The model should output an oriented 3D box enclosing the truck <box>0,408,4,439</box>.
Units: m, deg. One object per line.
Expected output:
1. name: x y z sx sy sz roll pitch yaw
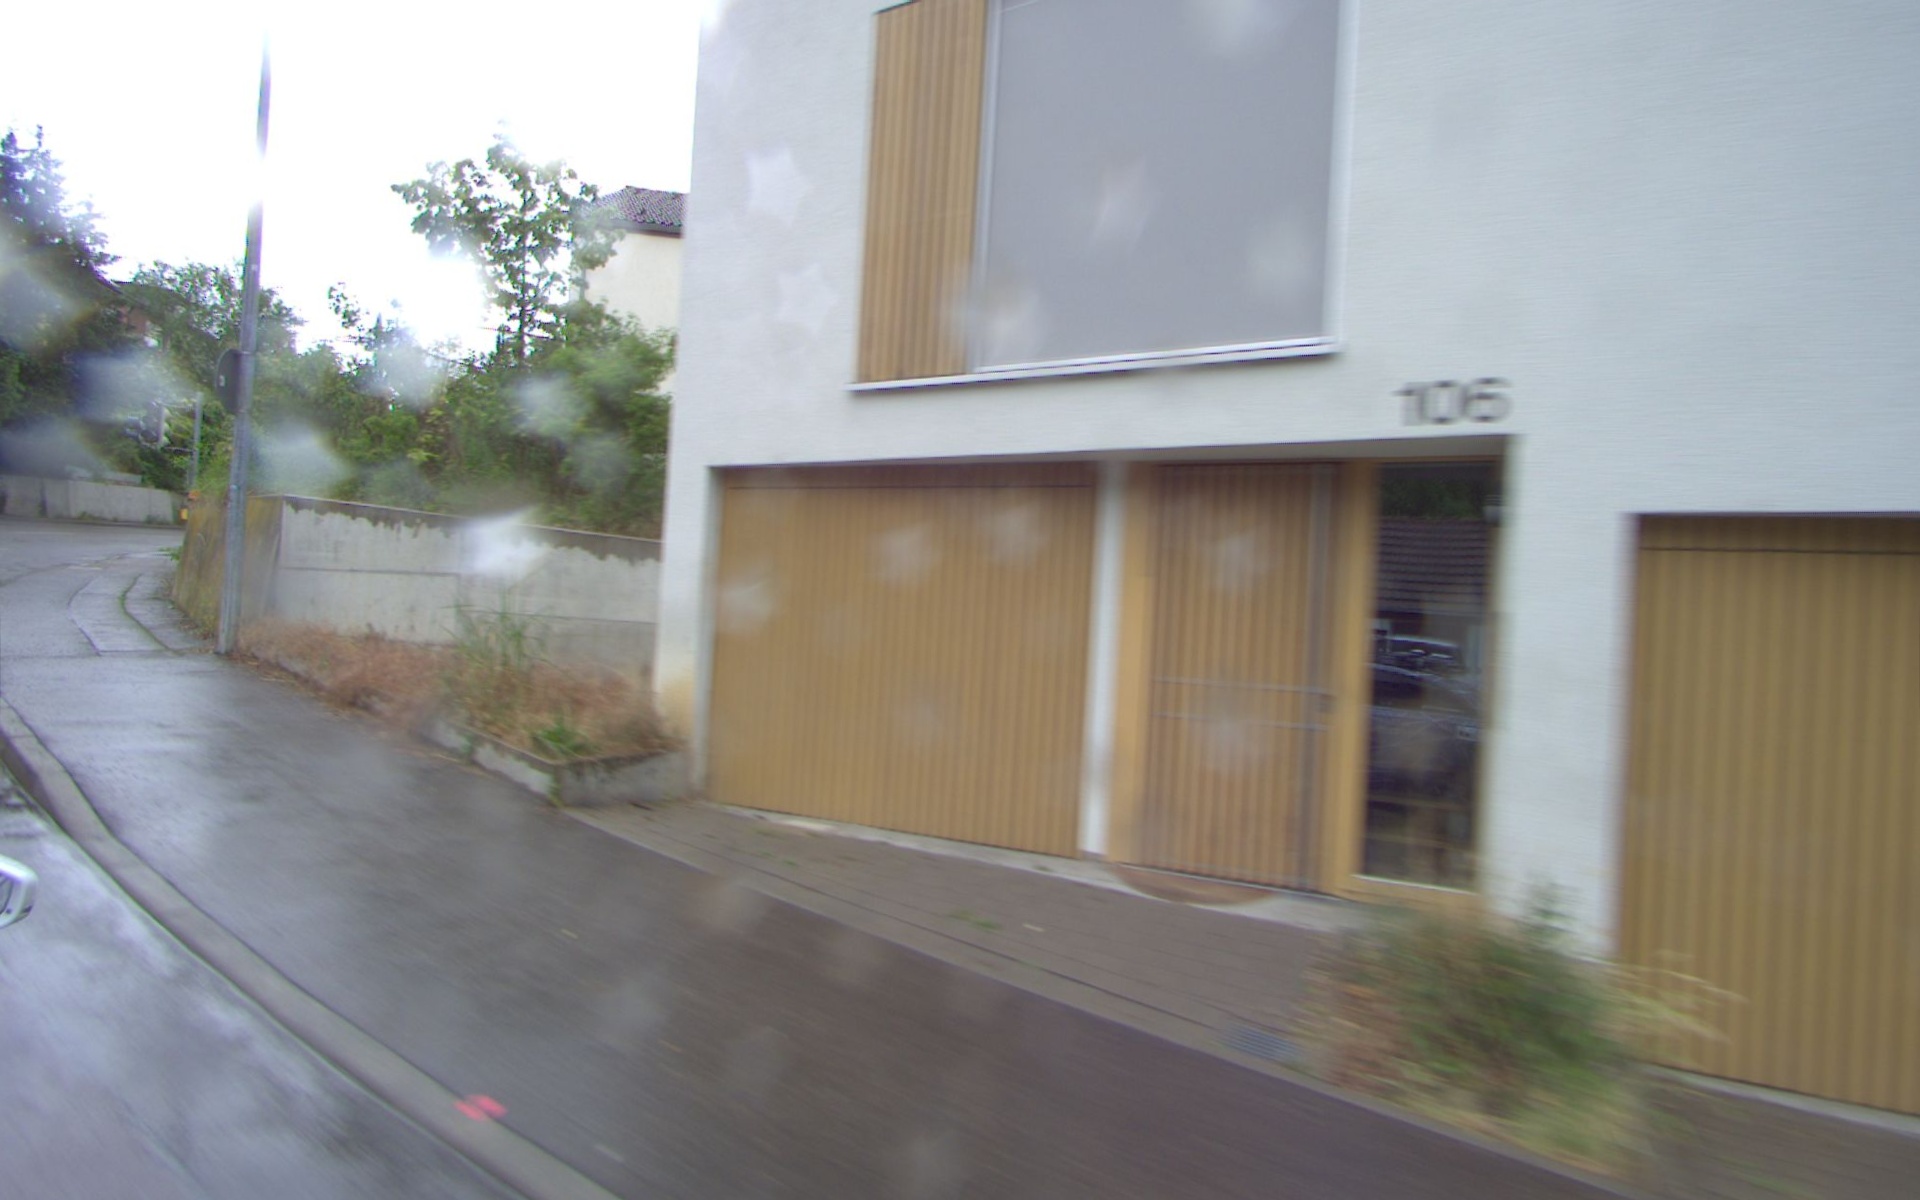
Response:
1. truck: -16.329 -1.956 14.721 2.504 2.851 6.137 8 -2 -38
